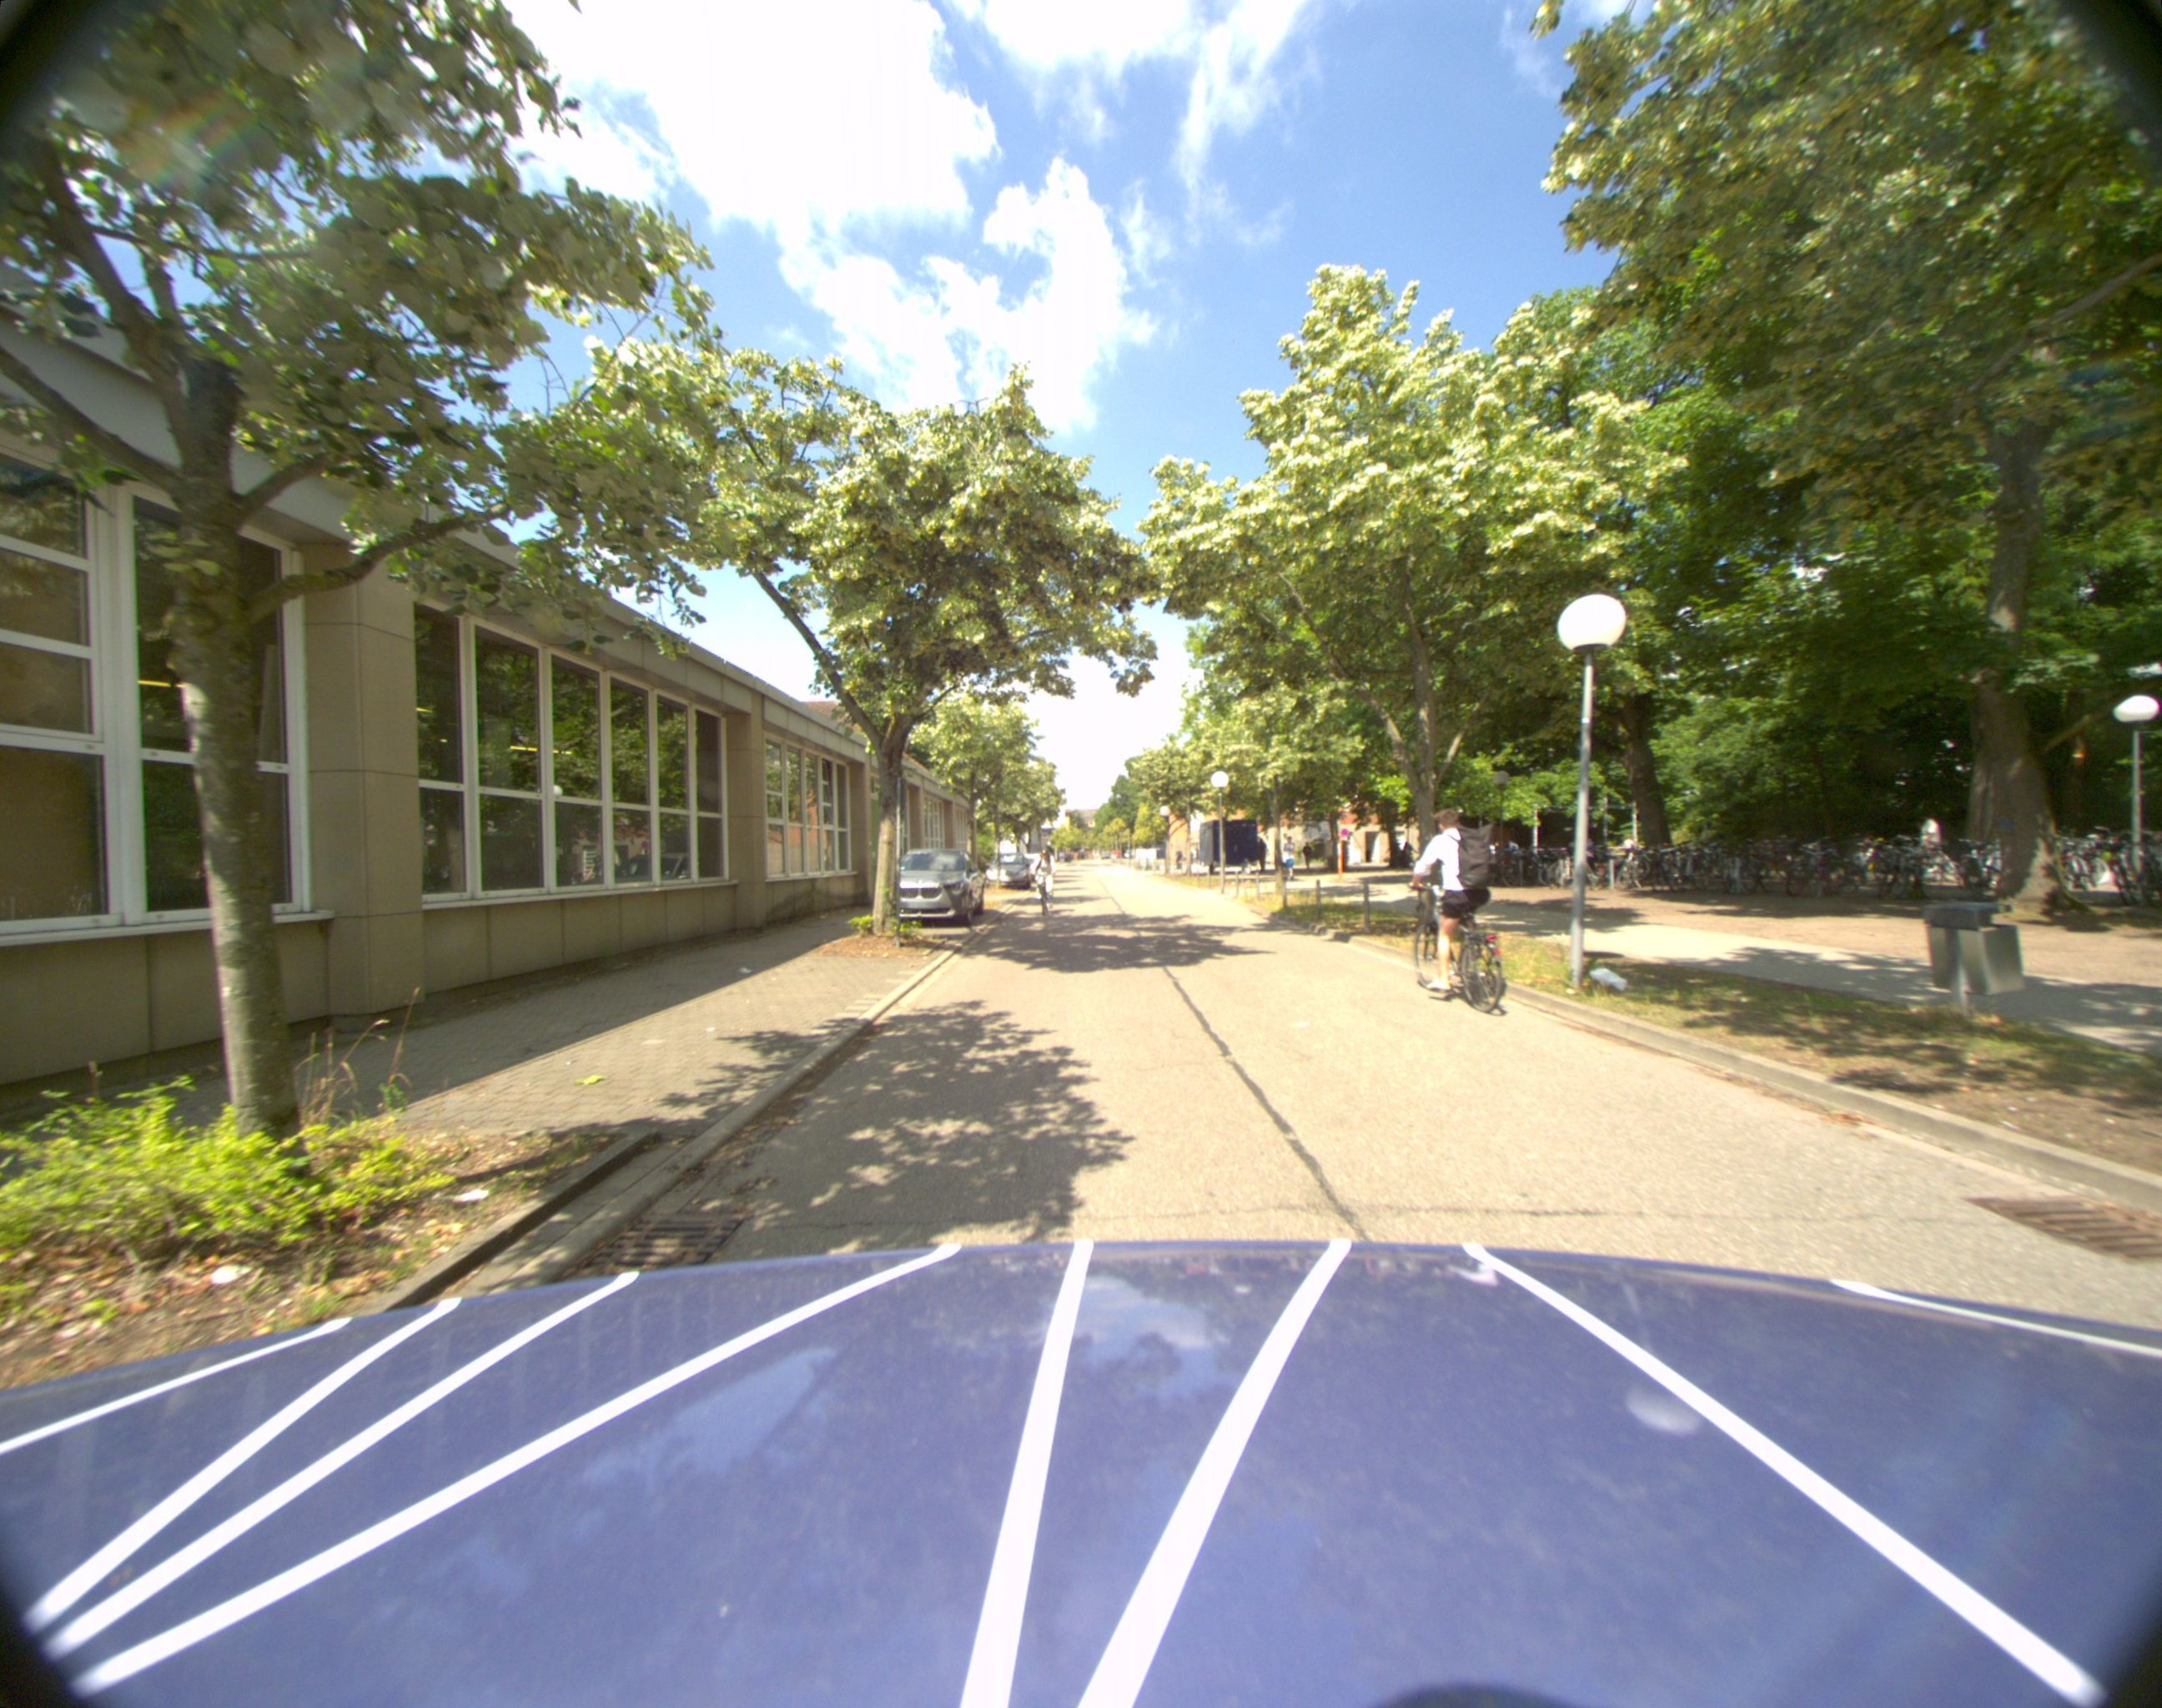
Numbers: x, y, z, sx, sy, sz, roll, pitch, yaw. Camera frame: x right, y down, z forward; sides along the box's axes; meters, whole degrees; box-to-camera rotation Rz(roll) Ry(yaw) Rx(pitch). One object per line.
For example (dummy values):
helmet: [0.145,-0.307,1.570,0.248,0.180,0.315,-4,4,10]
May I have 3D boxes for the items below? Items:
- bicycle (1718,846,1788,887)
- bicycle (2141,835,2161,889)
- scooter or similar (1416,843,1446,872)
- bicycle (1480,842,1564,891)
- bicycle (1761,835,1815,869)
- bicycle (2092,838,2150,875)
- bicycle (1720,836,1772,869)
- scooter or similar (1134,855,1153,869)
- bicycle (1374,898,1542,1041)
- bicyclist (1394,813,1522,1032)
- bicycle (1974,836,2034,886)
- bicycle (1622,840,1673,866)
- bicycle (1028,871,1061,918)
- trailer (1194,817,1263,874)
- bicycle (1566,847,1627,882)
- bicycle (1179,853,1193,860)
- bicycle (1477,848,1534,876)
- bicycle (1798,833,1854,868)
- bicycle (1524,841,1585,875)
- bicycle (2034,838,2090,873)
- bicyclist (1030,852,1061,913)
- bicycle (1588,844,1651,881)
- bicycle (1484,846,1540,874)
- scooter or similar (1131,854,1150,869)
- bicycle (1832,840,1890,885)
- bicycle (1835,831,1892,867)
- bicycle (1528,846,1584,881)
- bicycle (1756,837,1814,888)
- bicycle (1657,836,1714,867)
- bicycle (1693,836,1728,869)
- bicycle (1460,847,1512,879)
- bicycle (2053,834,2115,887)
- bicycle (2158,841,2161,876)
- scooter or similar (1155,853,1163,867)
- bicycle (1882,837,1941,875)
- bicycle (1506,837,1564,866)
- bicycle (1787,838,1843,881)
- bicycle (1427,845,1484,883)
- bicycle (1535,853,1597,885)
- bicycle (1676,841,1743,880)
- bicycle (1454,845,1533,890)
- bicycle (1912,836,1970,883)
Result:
bicycle: [19.494,0.349,22.051,1.968,1.083,0.546,-2,1,-17]
bicycle: [23.252,0.140,16.188,1.970,1.083,0.546,-2,1,-29]
scooter or similar: [15.377,0.161,33.425,0.700,1.239,1.241,-2,1,0]
bicycle: [12.336,0.334,21.240,2.062,1.227,0.808,-4,1,-17]
bicycle: [24.415,-0.083,26.226,1.960,1.085,0.596,-2,2,-22]
bicycle: [27.782,0.061,20.289,1.769,0.888,0.418,-2,1,-20]
bicycle: [23.731,-0.070,27.104,1.960,1.085,0.596,-2,2,-22]
scooter or similar: [5.516,0.723,66.977,1.571,1.218,0.571,-1,1,27]
bicycle: [3.661,1.066,7.584,0.687,1.123,1.888,-1,1,-2]
bicyclist: [3.651,0.625,7.440,0.713,2.002,1.018,0,1,-2]
bicycle: [21.848,0.159,17.980,1.970,1.083,0.546,-2,1,-29]
bicycle: [22.465,-0.042,30.137,1.885,0.937,0.546,-2,2,-13]
bicycle: [-0.916,1.020,19.643,0.675,1.066,2.136,-2,0,2]
trailer: [8.556,-0.487,44.795,2.703,3.009,6.265,-2,0,0]
bicycle: [17.082,0.338,25.182,1.969,1.083,0.537,-2,1,-17]
bicycle: [14.754,0.339,106.653,1.955,1.024,0.542,-1,1,-1]
bicycle: [16.033,0.295,28.727,1.807,1.008,0.537,-2,1,2]
bicycle: [24.943,-0.131,25.434,1.960,1.085,0.596,-2,2,-22]
bicycle: [16.926,0.144,27.154,1.968,1.119,0.537,-2,1,-10]
bicycle: [27.291,0.028,21.135,1.769,0.888,0.418,-2,1,-20]
bicyclist: [-0.894,0.712,19.352,0.675,1.470,1.062,-1,2,2]
bicycle: [17.349,0.260,24.468,1.968,1.083,0.546,-2,1,-17]
bicycle: [16.624,0.238,29.330,1.807,1.008,0.537,-2,1,3]
scooter or similar: [5.126,0.624,65.304,1.571,1.218,0.525,-1,1,27]
bicycle: [20.334,0.216,19.803,1.970,1.083,0.546,-2,1,-29]
bicycle: [25.242,-0.167,24.500,1.960,1.085,0.596,-2,2,-22]
bicycle: [15.884,0.304,25.384,1.863,1.083,0.546,-2,1,-21]
bicycle: [18.096,0.209,19.522,2.064,1.227,0.638,-2,0,-35]
bicycle: [23.109,-0.105,29.047,1.959,1.085,0.596,-2,2,-13]
bicycle: [22.730,-0.058,27.420,1.961,1.085,0.595,-3,2,-38]
bicycle: [14.682,0.311,27.507,1.863,1.083,0.546,-2,1,-21]
bicycle: [22.475,0.129,17.020,1.970,1.083,0.546,-2,1,-29]
bicycle: [28.270,0.073,19.405,1.769,0.888,0.418,-2,1,-20]
scooter or similar: [6.608,0.522,64.383,0.564,1.142,1.351,-1,1,12]
bicycle: [25.790,0.061,23.596,1.960,1.085,0.596,-2,2,-22]
bicycle: [16.804,-0.088,28.143,1.968,0.997,0.537,-2,1,-10]
bicycle: [20.299,0.146,21.012,1.970,1.083,0.546,-2,1,-29]
bicycle: [11.814,0.314,23.951,1.780,1.125,0.458,-2,1,-17]
bicycle: [17.049,0.527,26.704,1.968,1.021,0.537,-2,1,-10]
bicycle: [18.984,0.198,22.942,1.968,1.083,0.546,-2,1,-17]
bicycle: [12.157,0.379,22.379,2.062,1.227,0.808,-2,1,-17]
bicycle: [21.655,0.132,19.125,1.970,1.083,0.546,-2,1,-29]
